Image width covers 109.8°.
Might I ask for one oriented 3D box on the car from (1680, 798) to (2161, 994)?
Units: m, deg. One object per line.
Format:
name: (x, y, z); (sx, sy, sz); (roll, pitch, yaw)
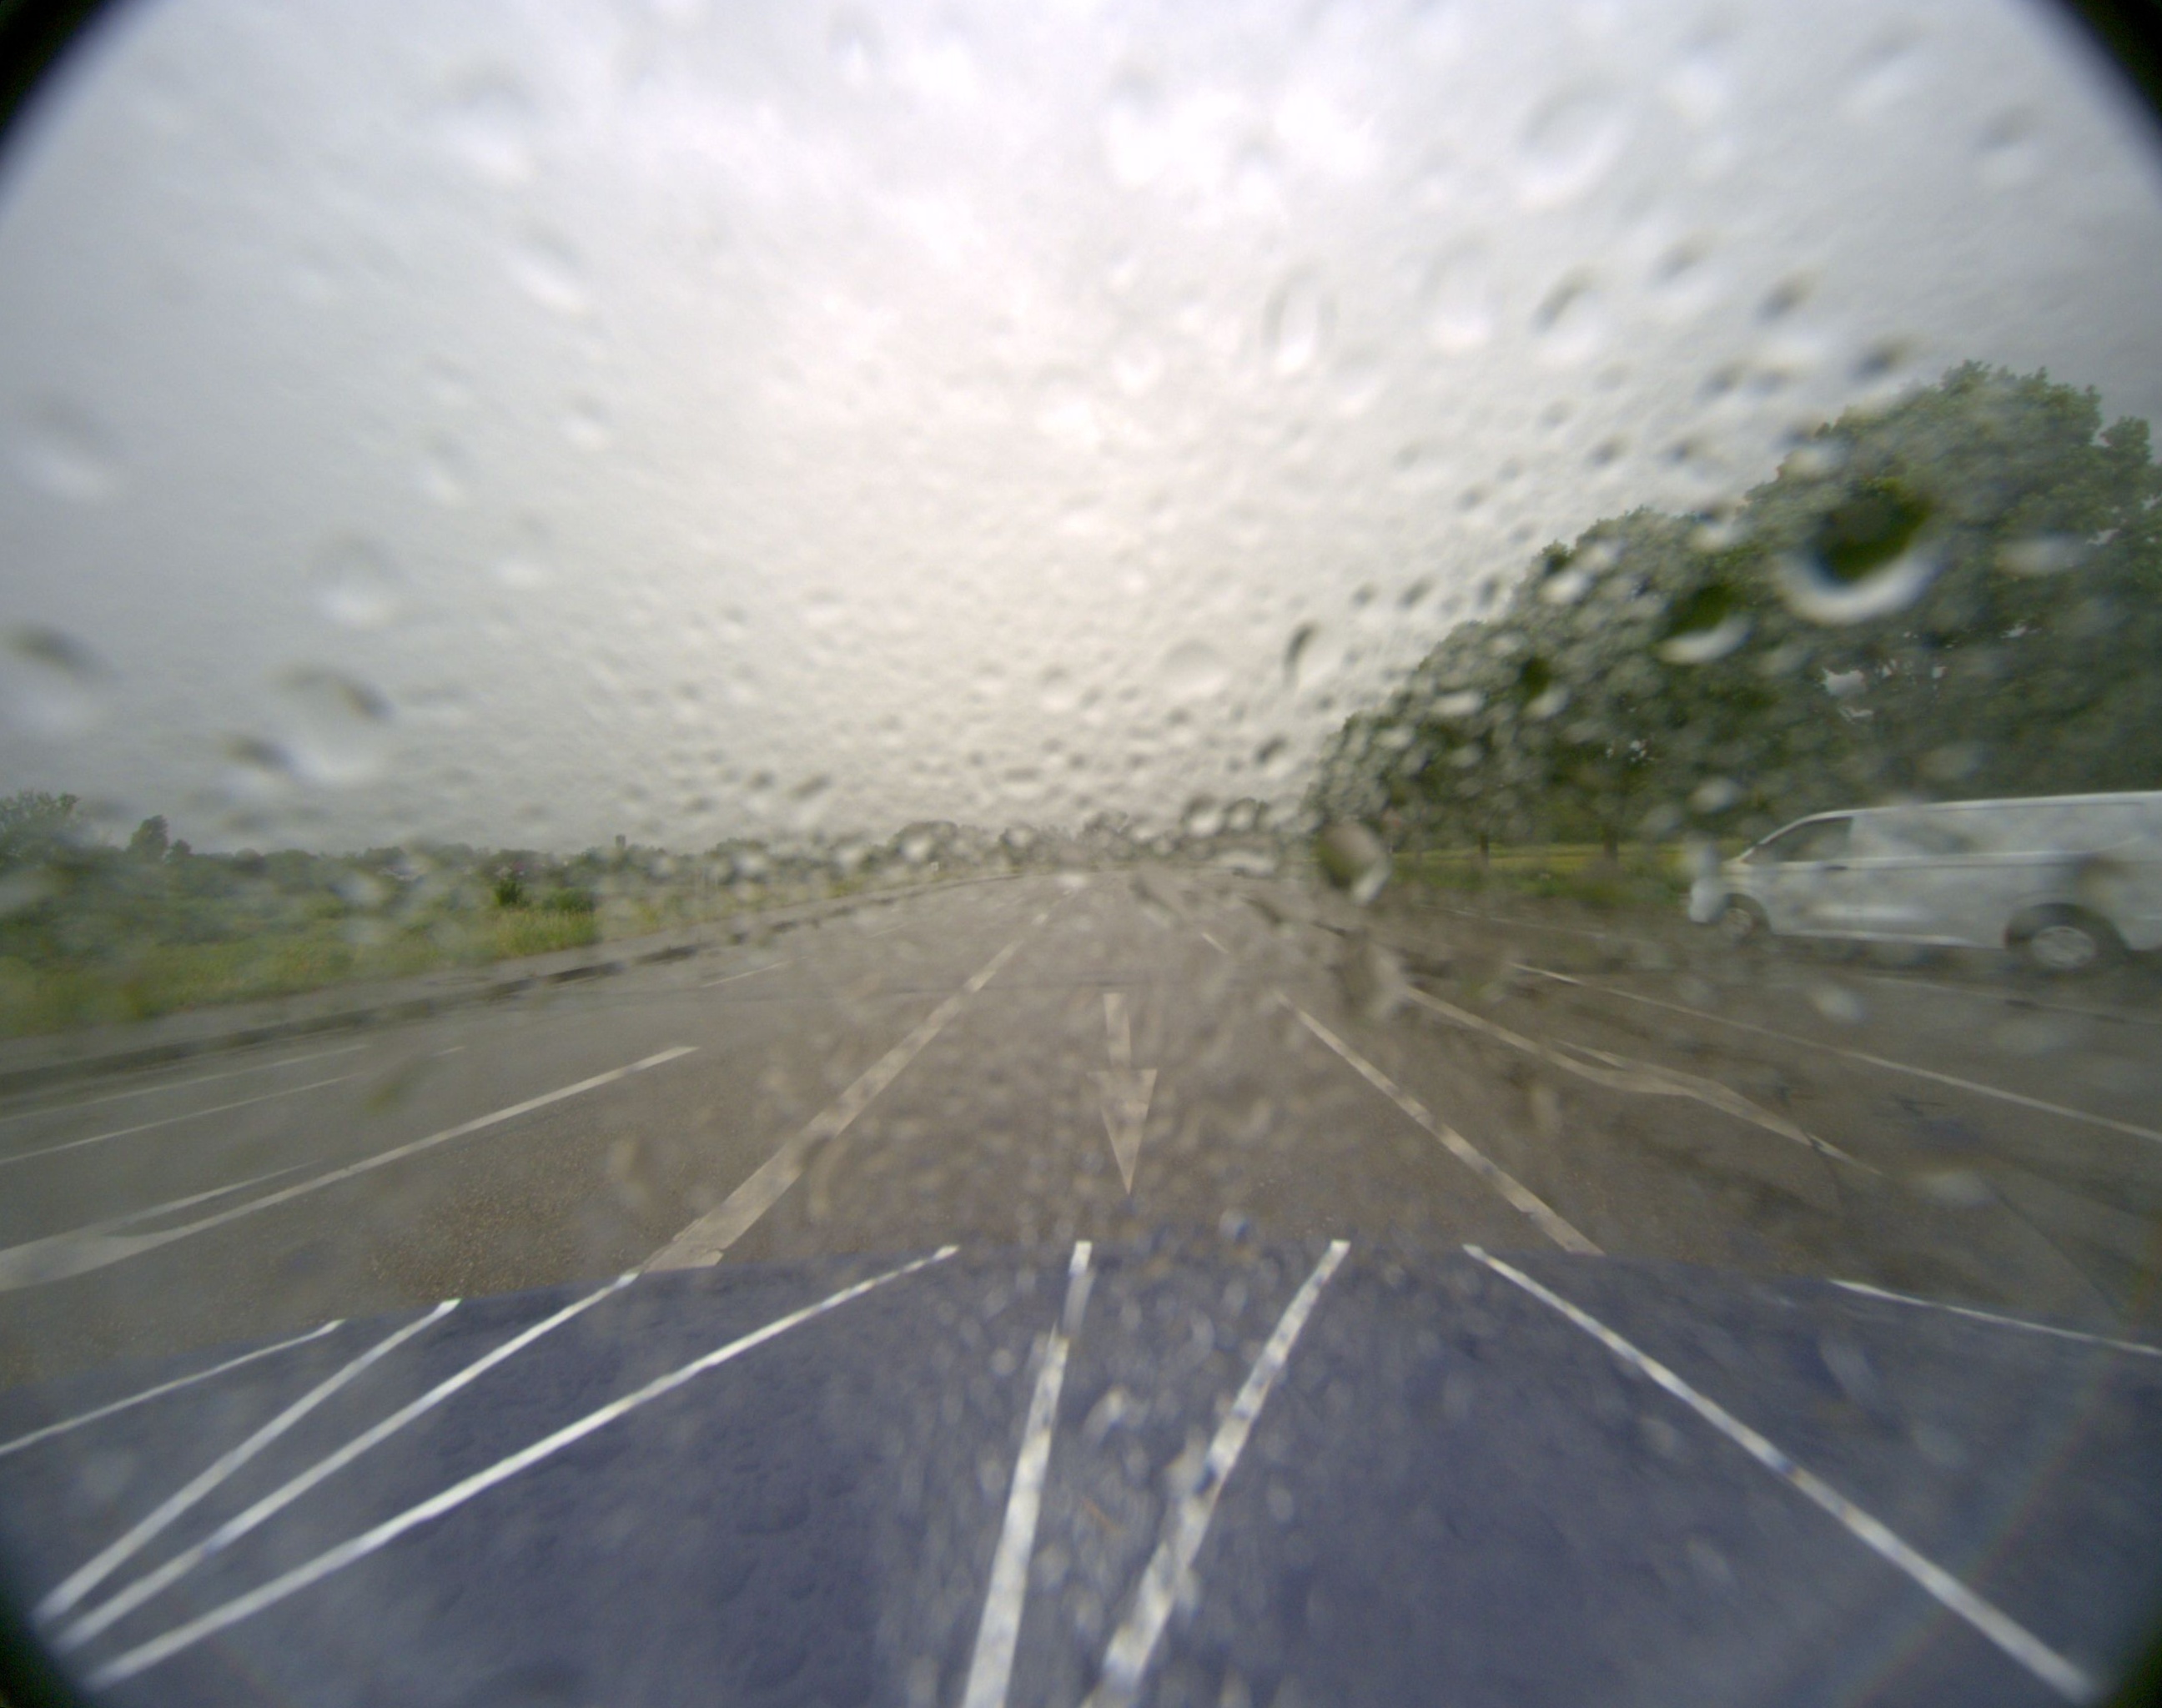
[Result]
car: (10.779, 0.406, 9.501); (2.115, 1.881, 4.784); (-2, 0, -17)
